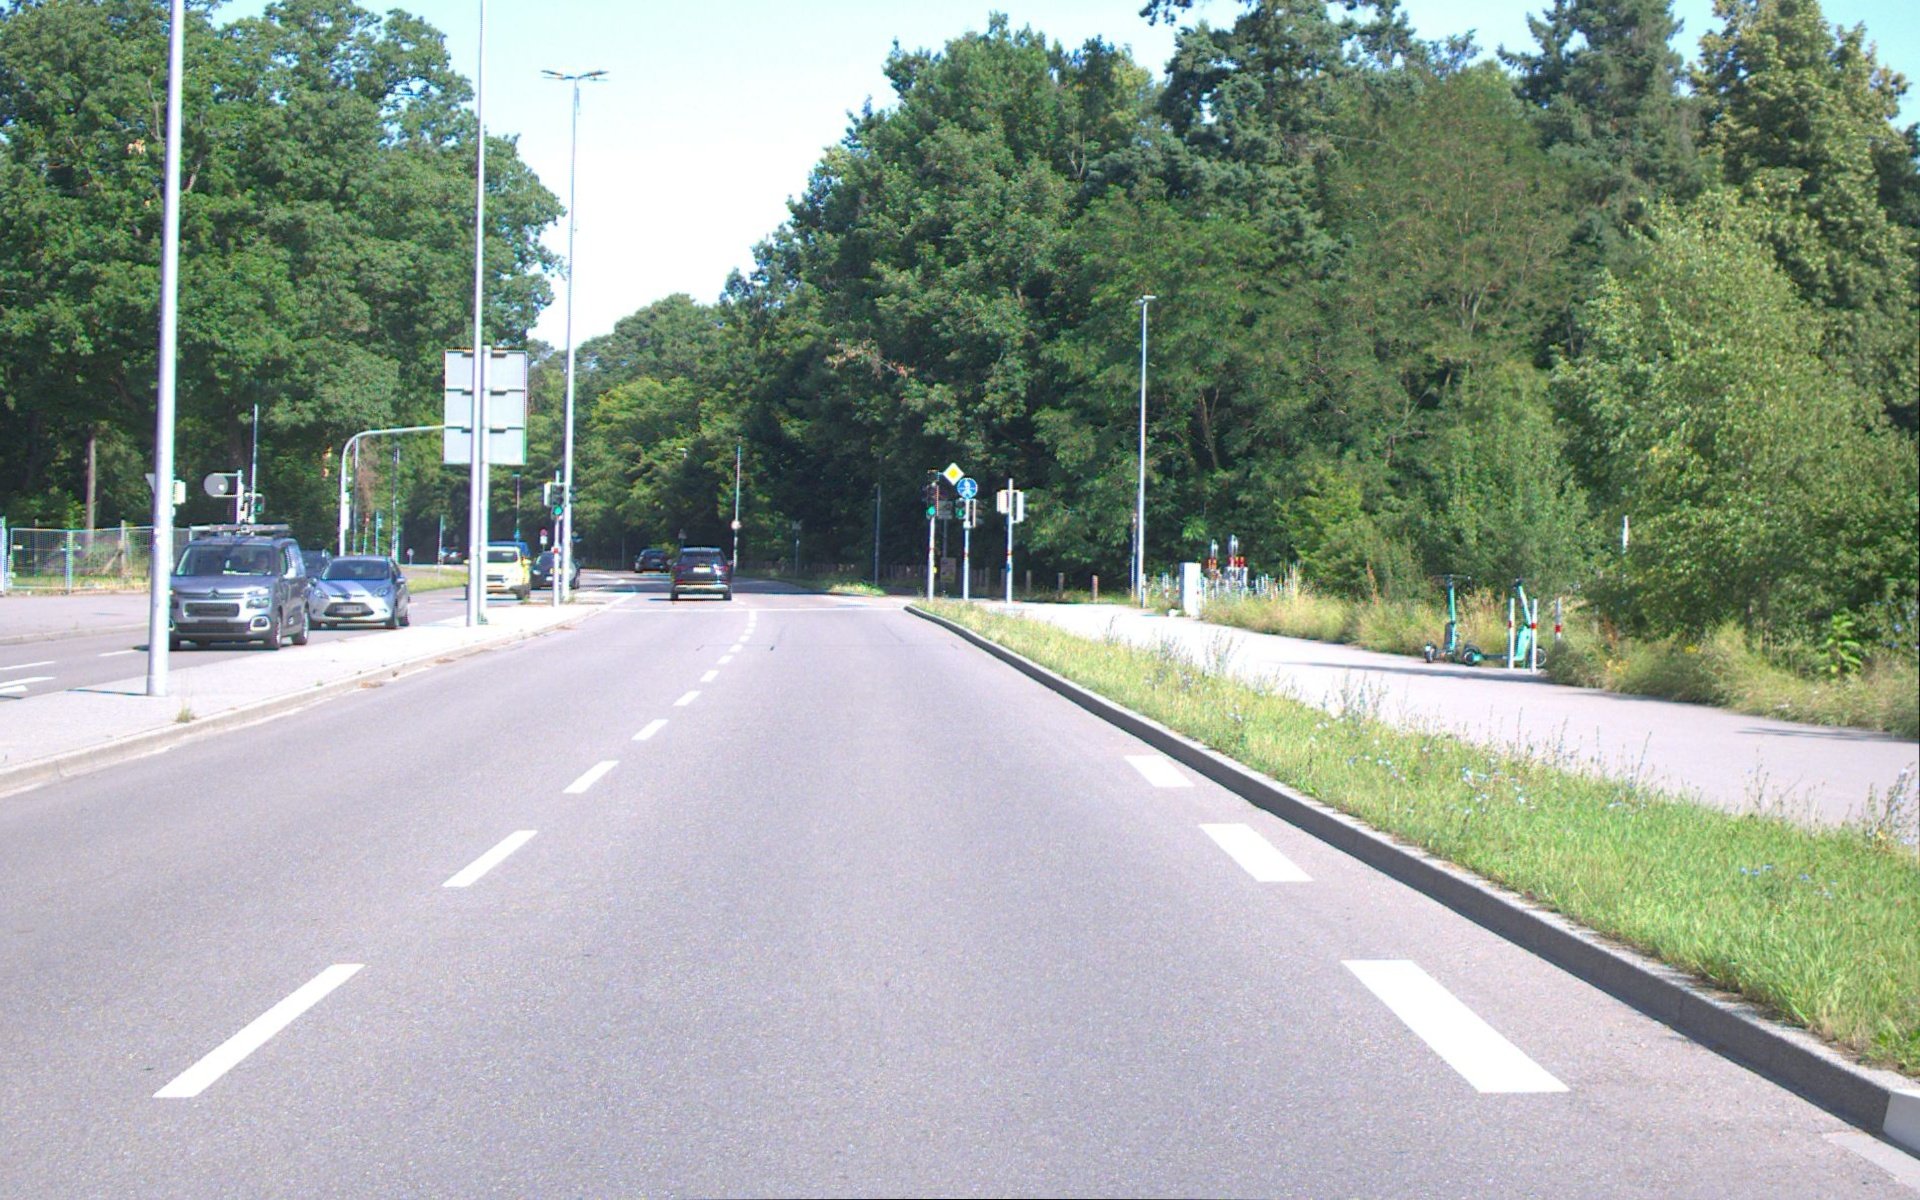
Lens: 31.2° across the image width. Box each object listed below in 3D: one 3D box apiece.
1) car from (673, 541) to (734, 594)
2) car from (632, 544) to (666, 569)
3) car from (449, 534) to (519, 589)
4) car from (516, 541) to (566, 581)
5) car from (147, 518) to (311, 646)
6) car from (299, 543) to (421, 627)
[{"bbox_3d":[-7.646,-0.991,102.753,1.687,1.539,4.149,0,1,-3],"label":"car"},{"bbox_3d":[-18.749,-2.636,207.206,1.940,1.415,4.294,1,1,-6],"label":"car"},{"bbox_3d":[-14.549,-1.197,105.316,1.846,1.612,4.001,2,1,-4],"label":"car"},{"bbox_3d":[-16.245,-1.525,133.346,1.819,1.459,4.001,2,1,-6],"label":"car"},{"bbox_3d":[-11.427,-0.304,54.025,1.841,1.925,4.630,0,1,-3],"label":"car"},{"bbox_3d":[-11.852,-0.317,68.109,1.909,1.579,4.001,1,1,-3],"label":"car"}]
